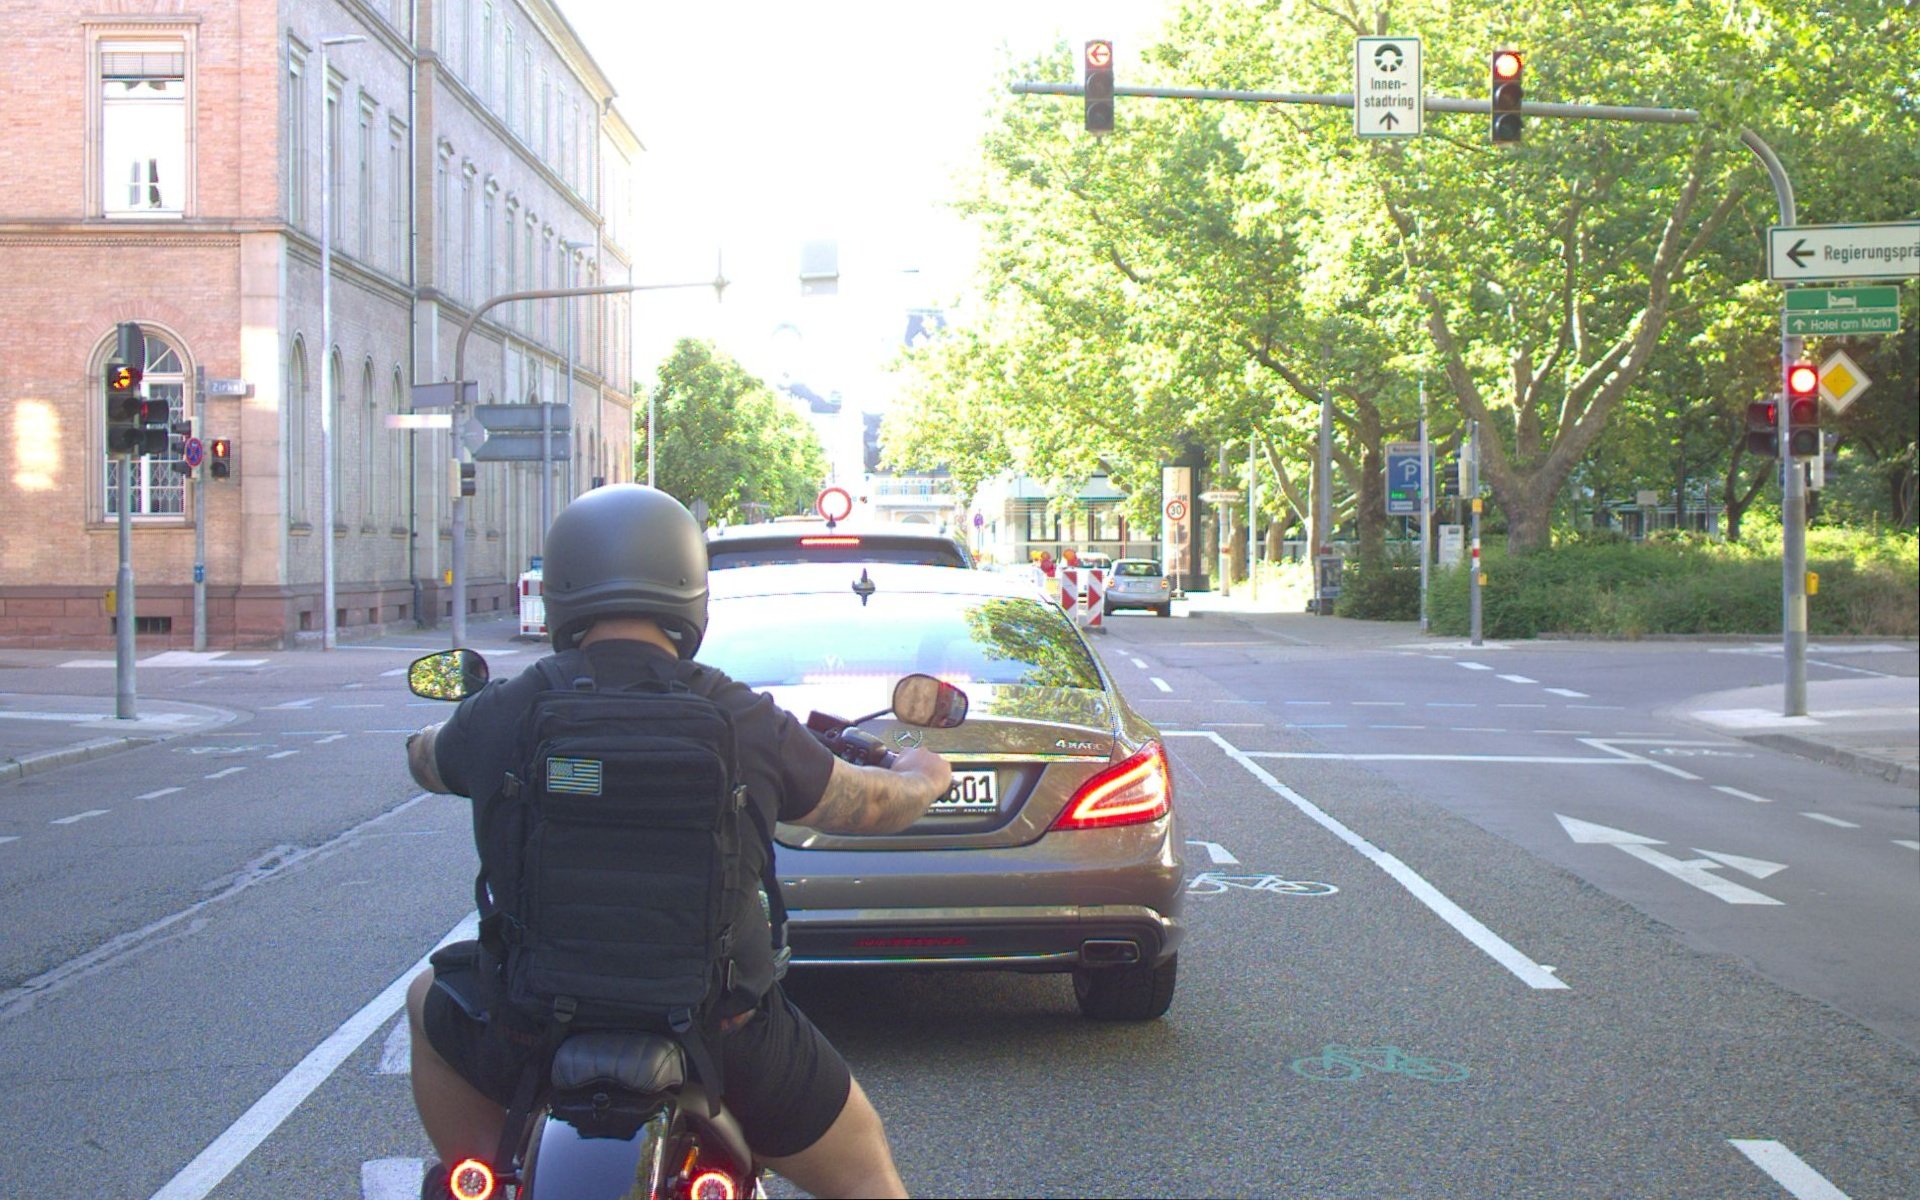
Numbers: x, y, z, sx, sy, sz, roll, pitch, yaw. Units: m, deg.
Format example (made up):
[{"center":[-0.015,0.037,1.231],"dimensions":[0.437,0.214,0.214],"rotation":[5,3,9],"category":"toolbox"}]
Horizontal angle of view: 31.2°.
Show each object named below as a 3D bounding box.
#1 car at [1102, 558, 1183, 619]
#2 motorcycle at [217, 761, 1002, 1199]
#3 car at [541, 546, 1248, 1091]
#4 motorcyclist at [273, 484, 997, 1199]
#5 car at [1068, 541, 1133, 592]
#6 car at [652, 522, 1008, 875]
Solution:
[{"center":[4.568,-0.308,86.465],"dimensions":[1.821,1.475,3.908],"rotation":[-1,1,0],"category":"car"},{"center":[-0.456,0.879,5.574],"dimensions":[0.989,1.075,2.452],"rotation":[0,1,-1],"category":"motorcycle"},{"center":[-0.431,0.557,11.610],"dimensions":[1.945,1.468,4.363],"rotation":[0,1,-7],"category":"car"},{"center":[-0.452,0.624,5.415],"dimensions":[0.989,1.591,1.404],"rotation":[0,1,-1],"category":"motorcyclist"},{"center":[4.210,-0.995,103.503],"dimensions":[1.856,1.481,3.908],"rotation":[1,1,1],"category":"car"},{"center":[-0.638,0.407,17.775],"dimensions":[1.612,1.602,4.329],"rotation":[0,1,-1],"category":"car"}]
